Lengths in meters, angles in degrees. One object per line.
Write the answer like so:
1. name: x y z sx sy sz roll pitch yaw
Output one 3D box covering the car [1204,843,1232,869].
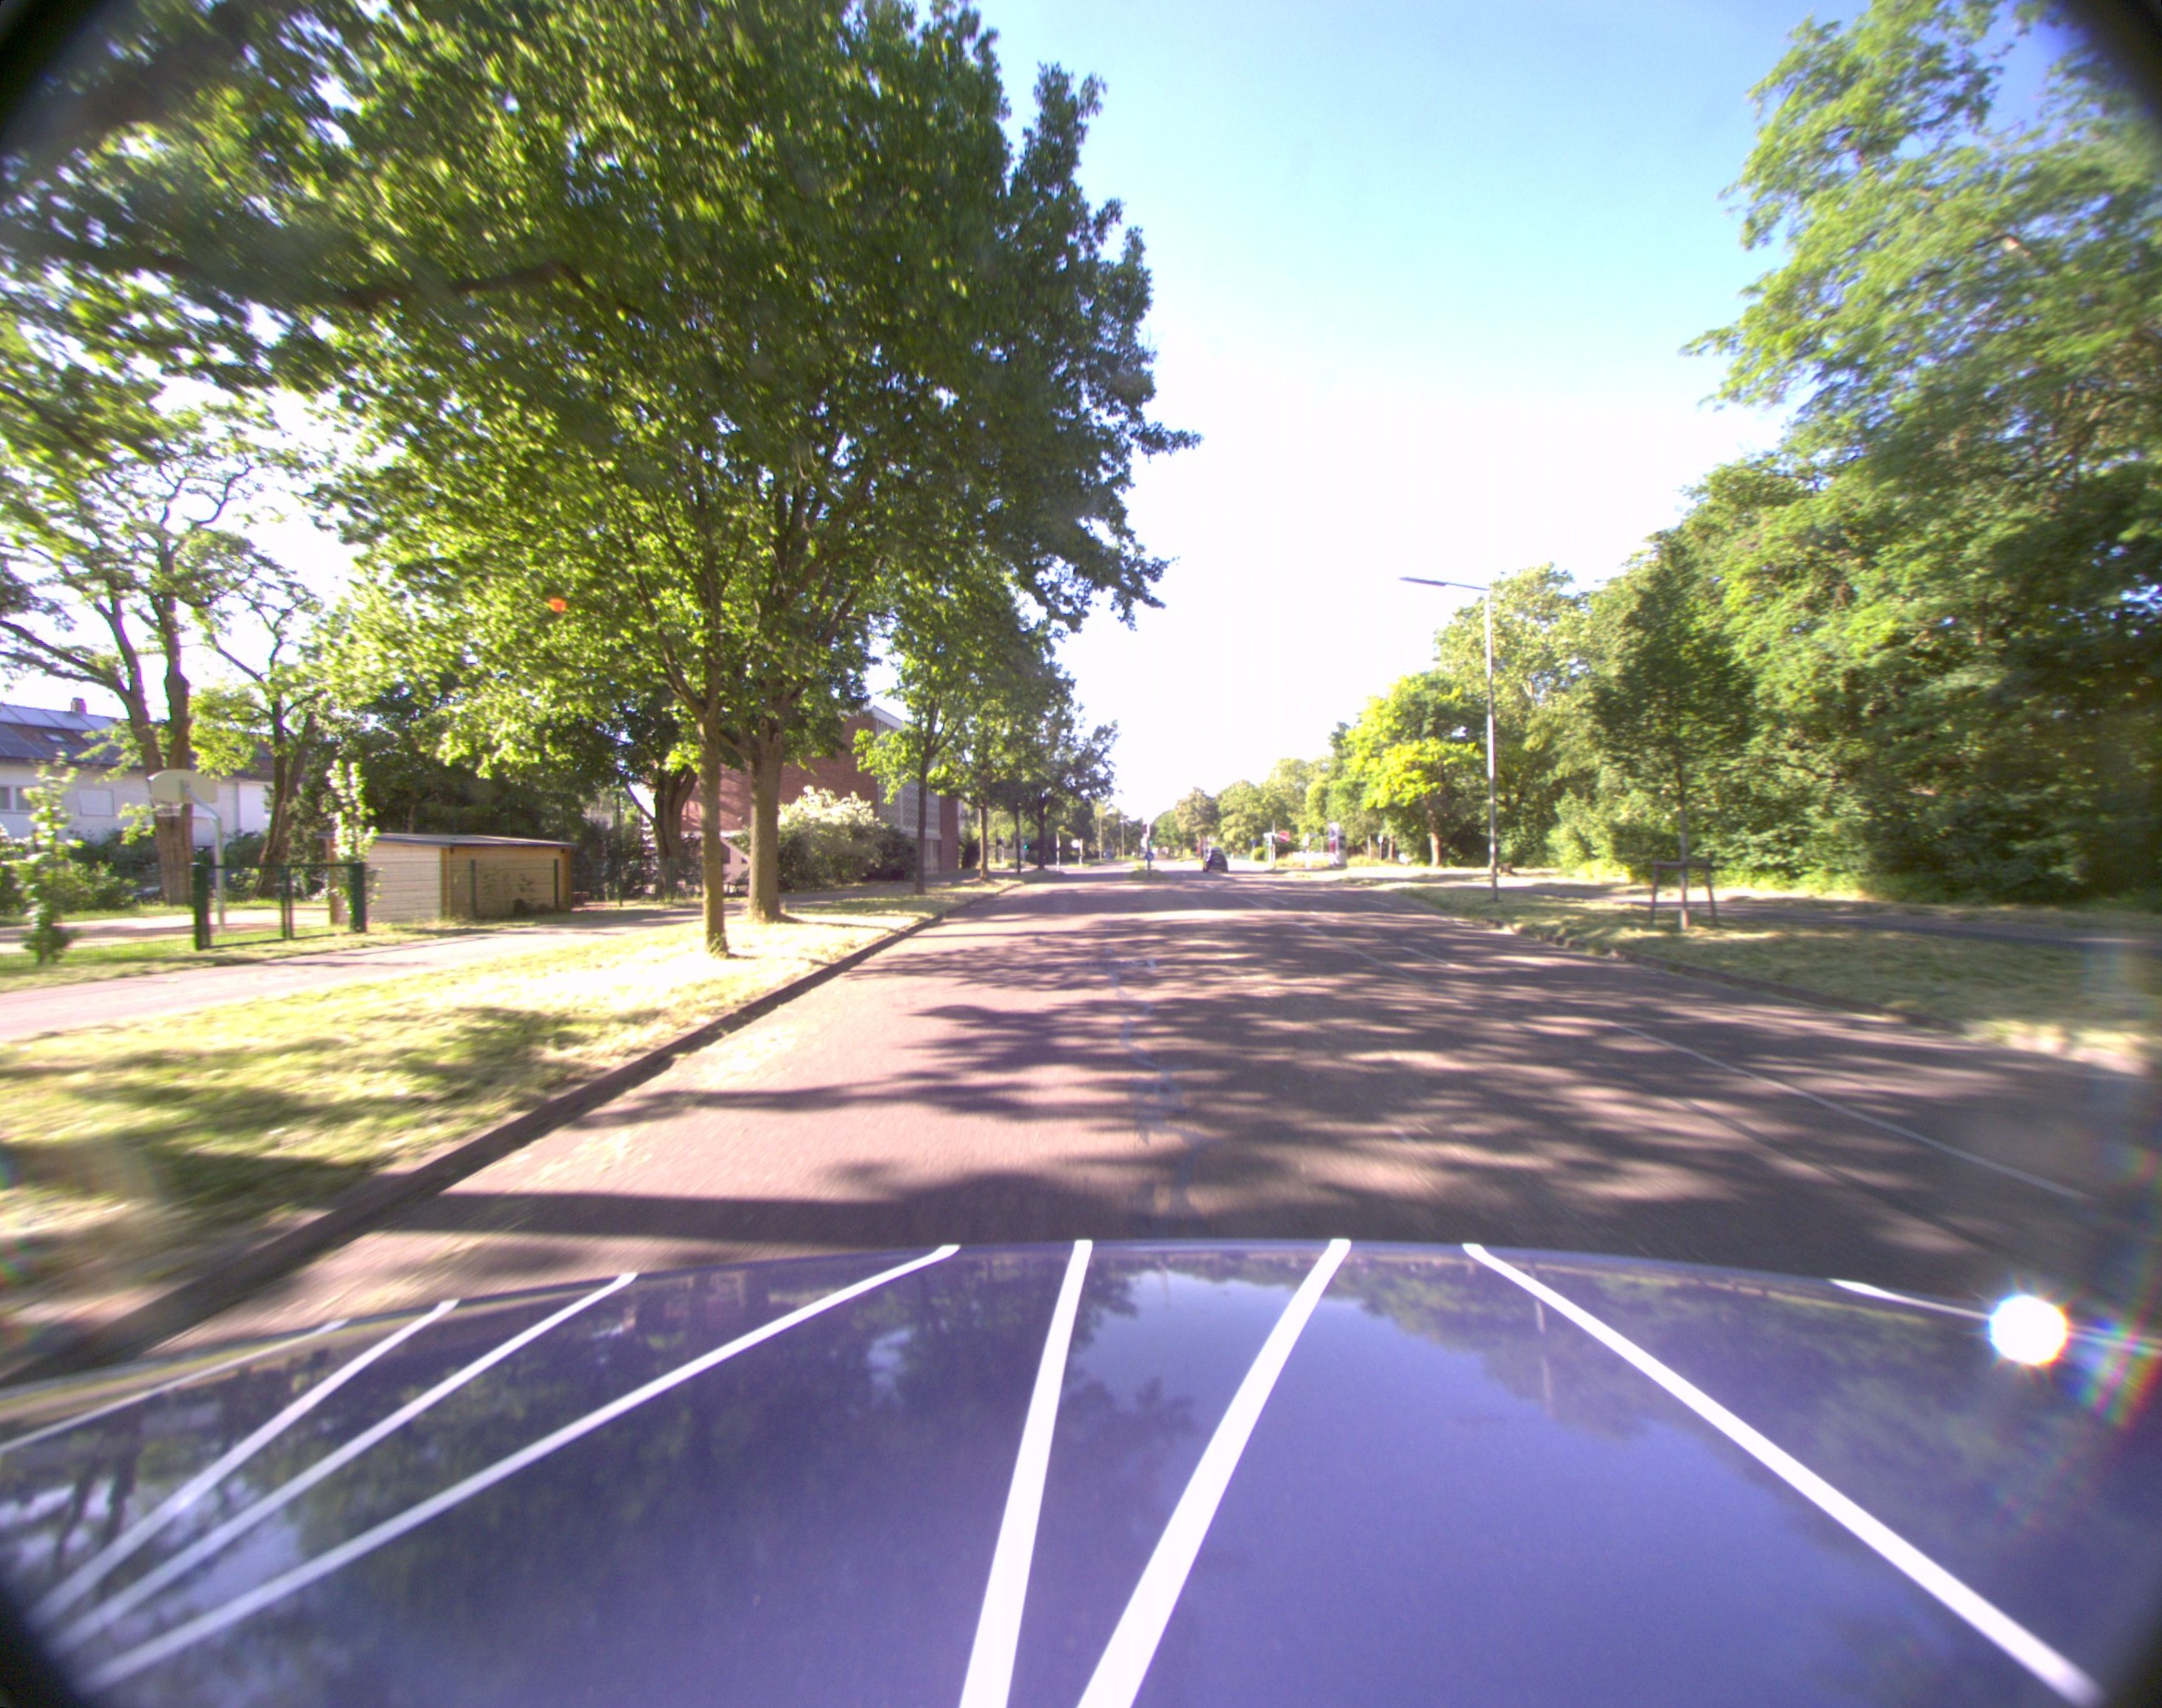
1. car: 11.394 0.166 63.449 1.903 2.083 3.642 1 1 3
